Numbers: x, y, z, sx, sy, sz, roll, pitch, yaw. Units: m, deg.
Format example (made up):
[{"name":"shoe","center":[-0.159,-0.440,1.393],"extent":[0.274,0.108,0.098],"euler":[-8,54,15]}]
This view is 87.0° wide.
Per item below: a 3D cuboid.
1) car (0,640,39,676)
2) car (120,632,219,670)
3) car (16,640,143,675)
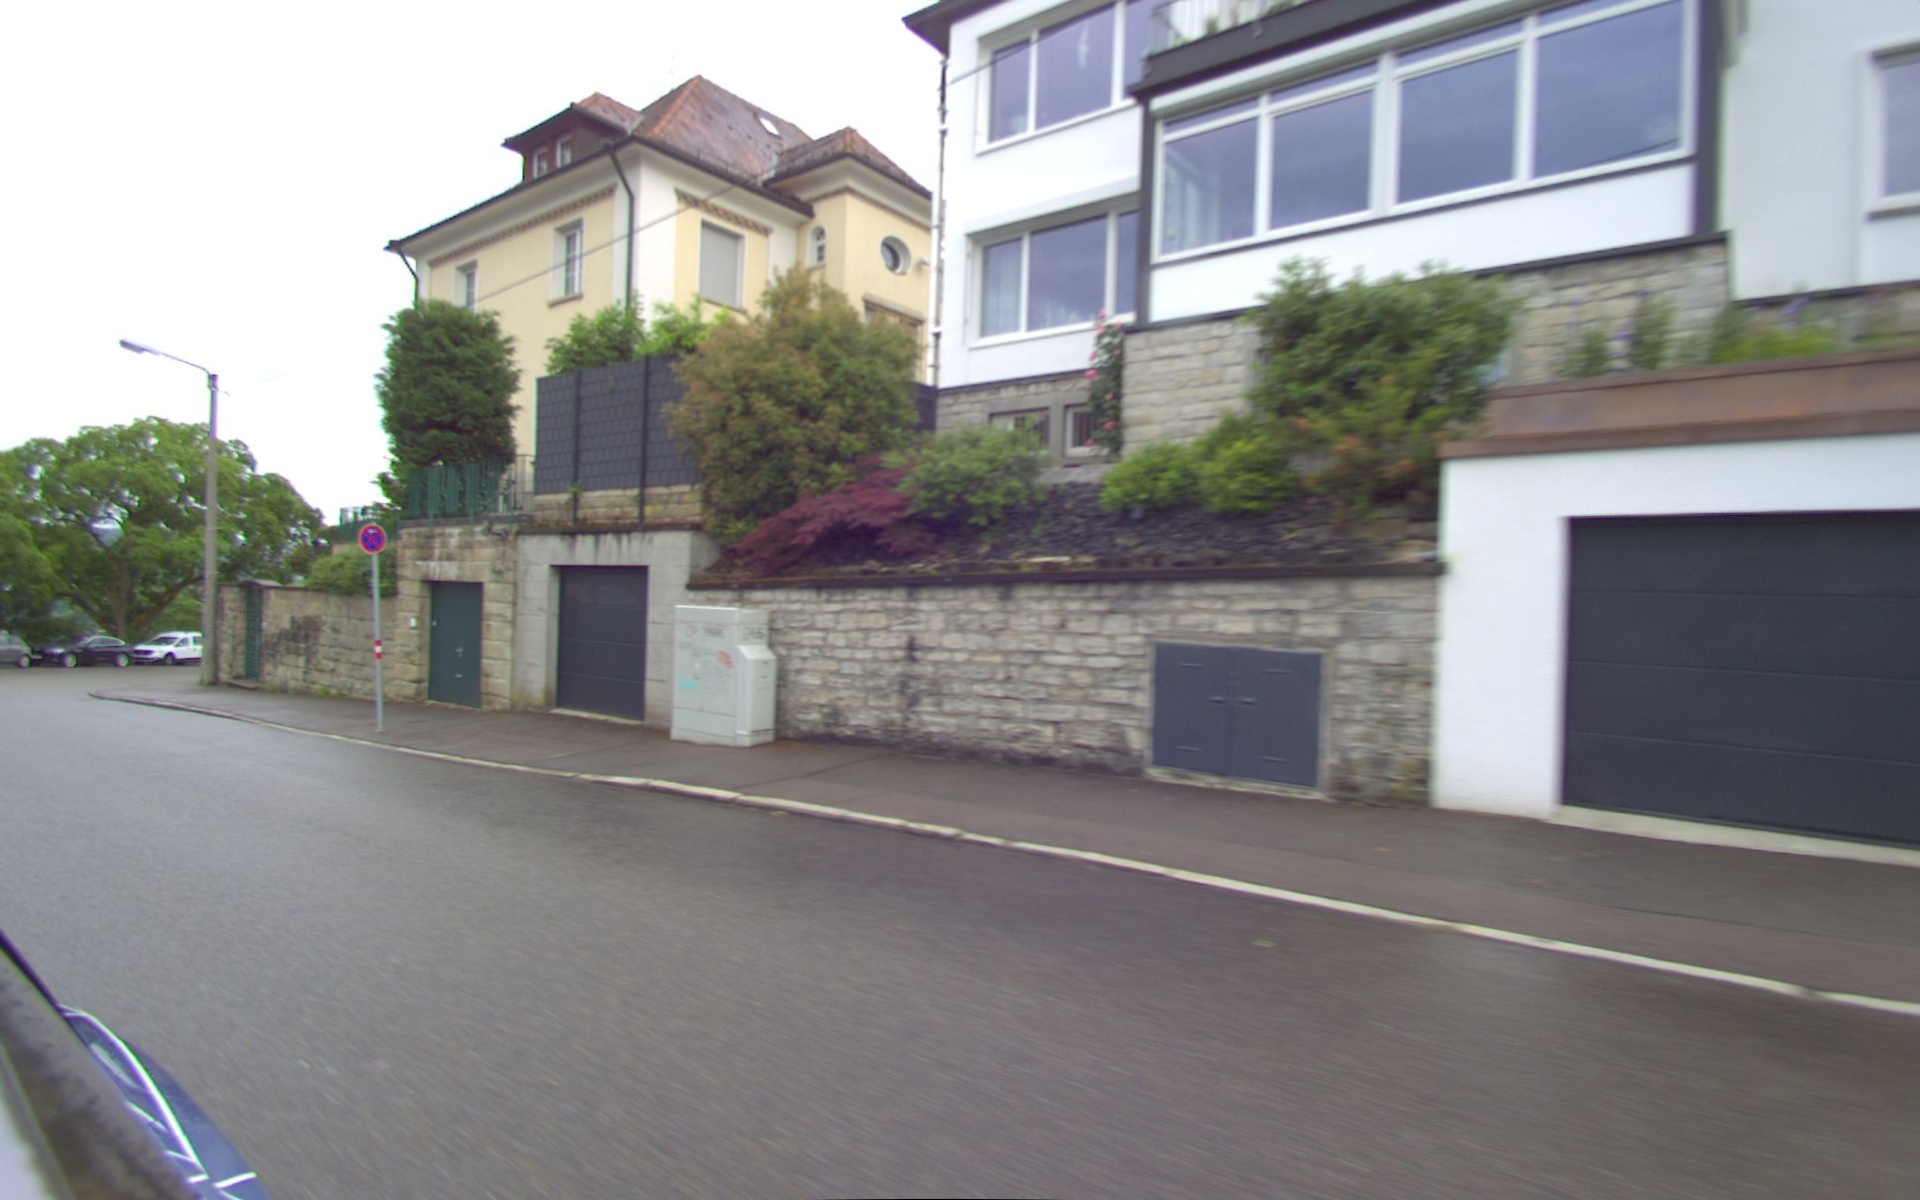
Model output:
[{"name":"car","center":[-41.771,2.422,43.026],"extent":[1.712,1.515,4.142],"euler":[3,-4,-8]},{"name":"car","center":[-42.329,2.771,54.311],"extent":[1.728,1.835,4.422],"euler":[3,-4,0]},{"name":"car","center":[-42.273,2.792,48.760],"extent":[1.839,1.554,4.895],"euler":[2,-4,-1]}]
